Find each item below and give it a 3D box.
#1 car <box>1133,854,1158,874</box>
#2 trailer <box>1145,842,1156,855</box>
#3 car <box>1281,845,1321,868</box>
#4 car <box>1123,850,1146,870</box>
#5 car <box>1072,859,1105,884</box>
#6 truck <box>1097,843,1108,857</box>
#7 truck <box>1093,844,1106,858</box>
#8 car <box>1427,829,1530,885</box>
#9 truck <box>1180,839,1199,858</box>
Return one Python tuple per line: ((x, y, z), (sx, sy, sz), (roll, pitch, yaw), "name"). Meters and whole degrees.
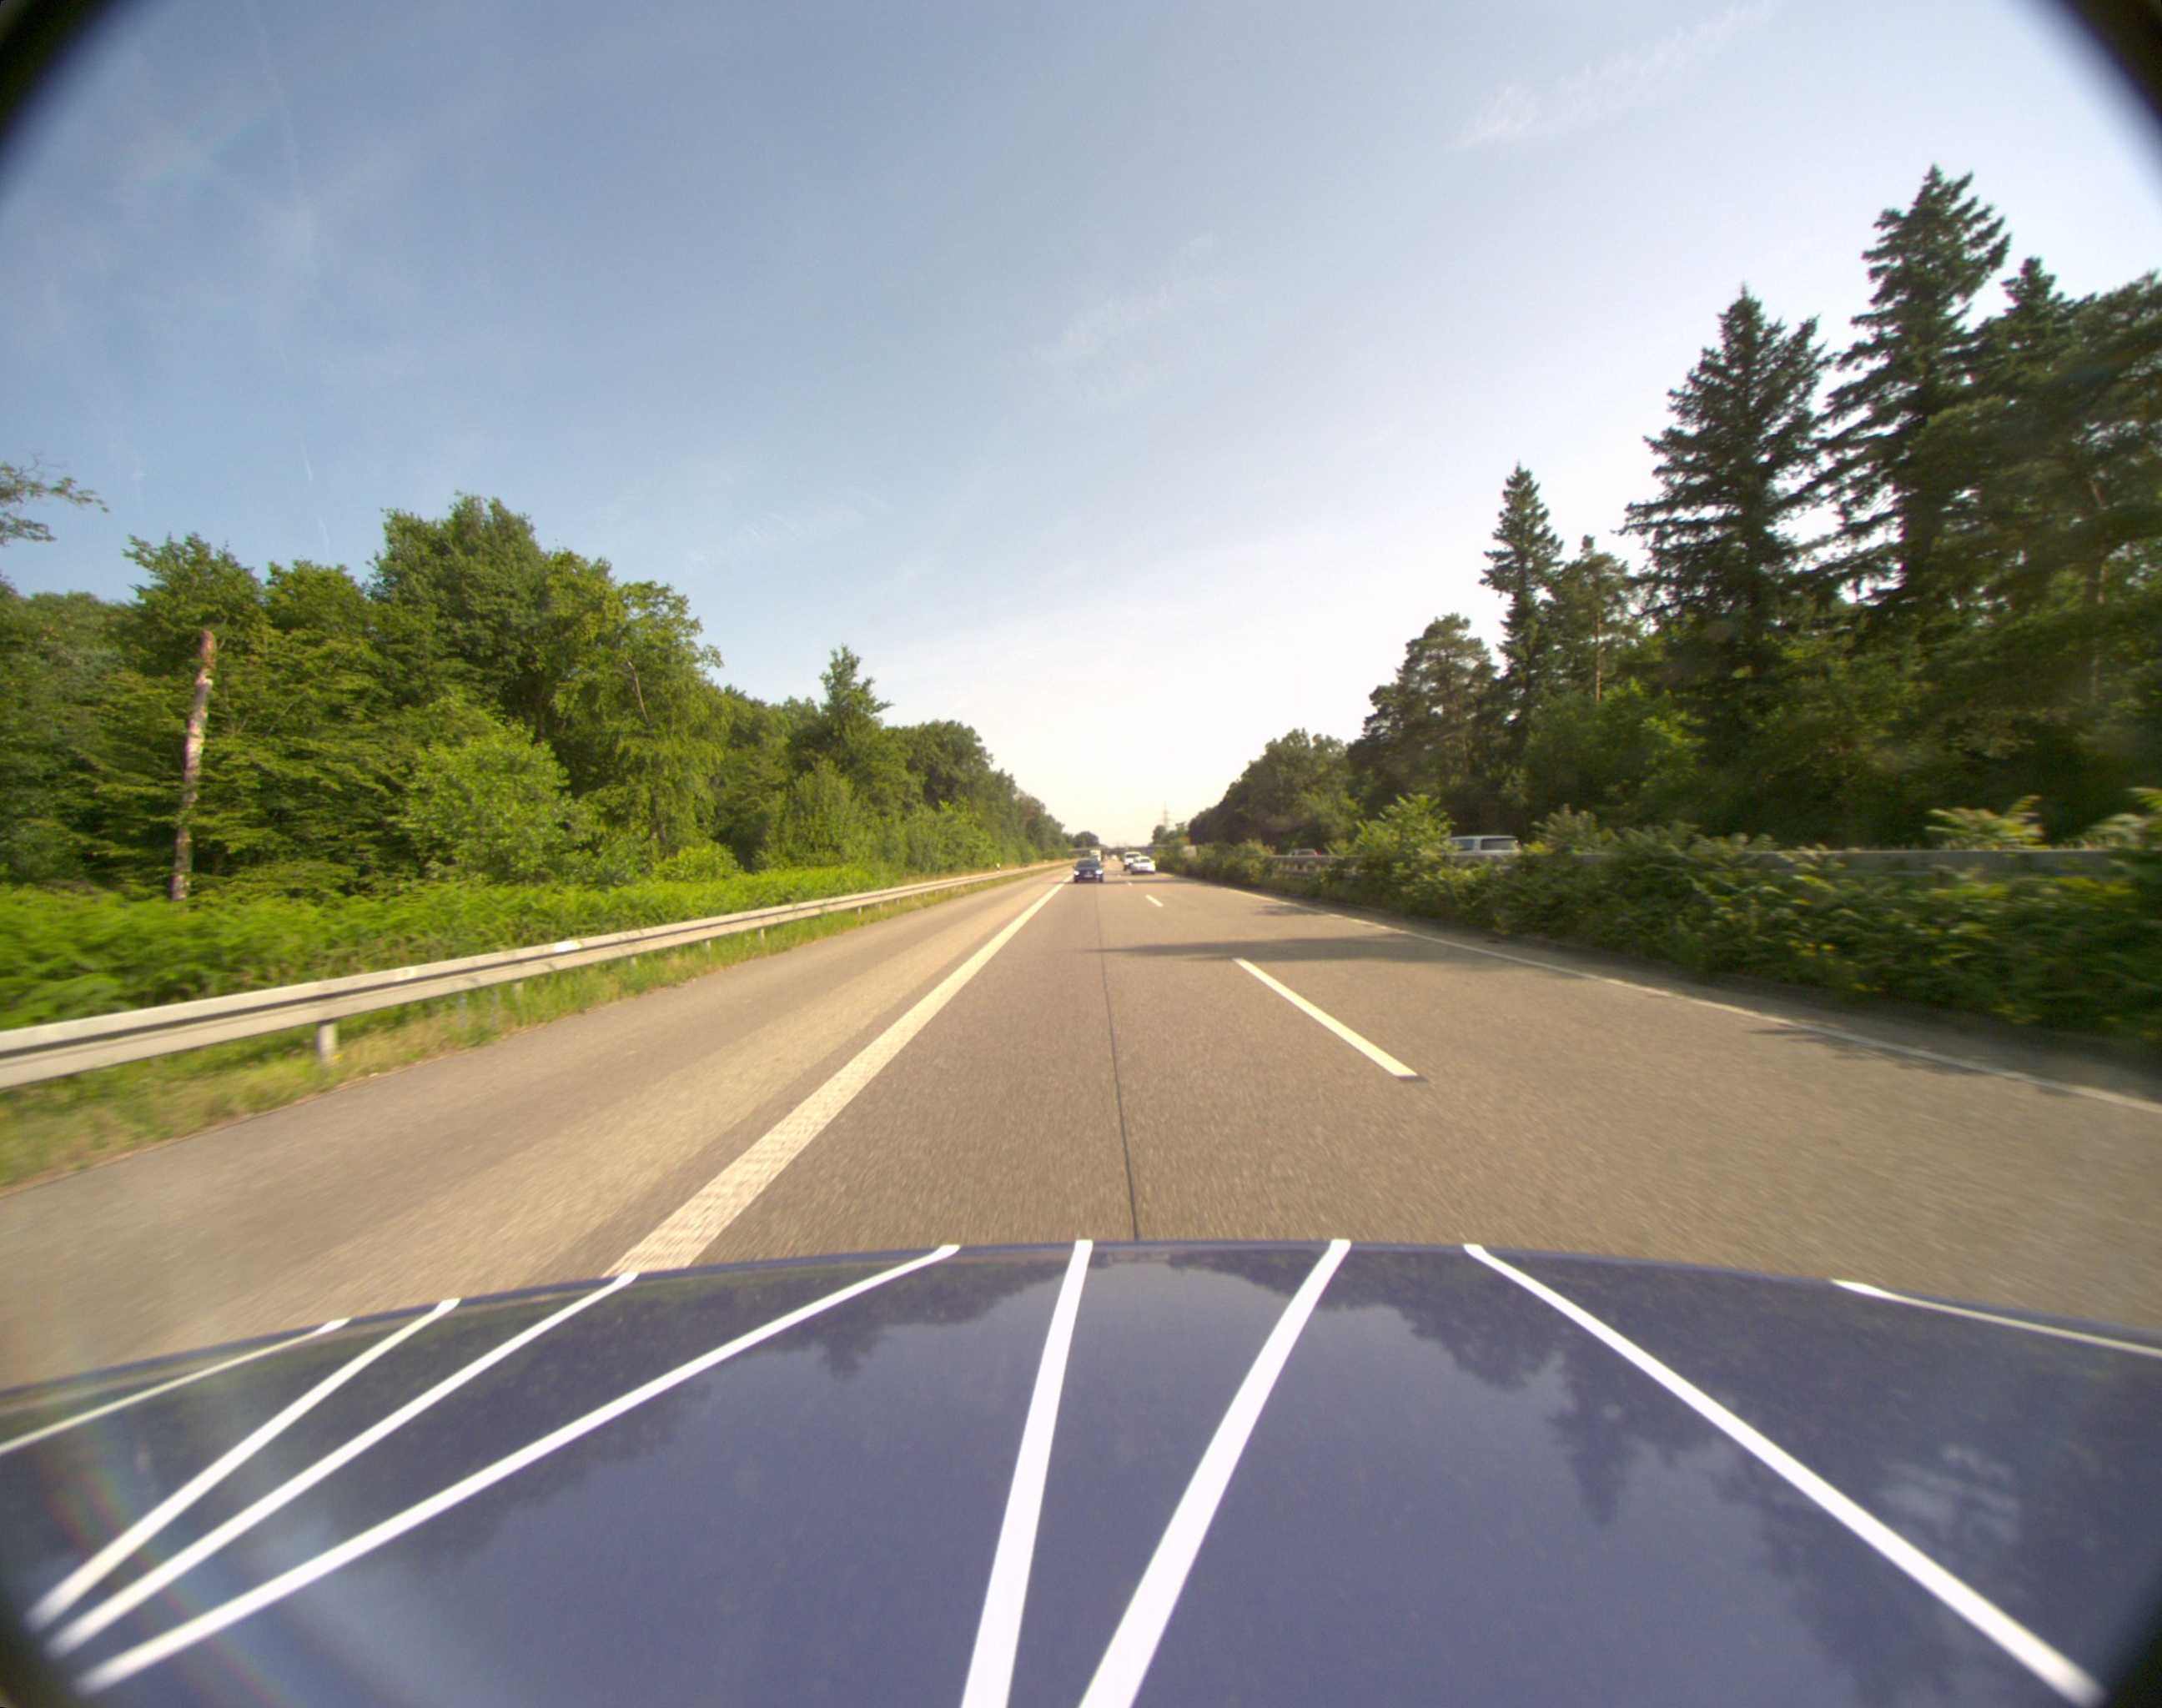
((5.260, 0.781, 62.472), (1.754, 1.477, 5.264), (-2, 0, 2), "car")
((22.671, -1.696, 249.538), (2.899, 3.984, 13.324), (0, 0, 2), "trailer")
((16.732, 0.156, 57.877), (1.820, 1.673, 4.300), (-2, 1, 1), "car")
((5.570, 0.597, 80.188), (1.912, 1.934, 4.705), (-2, 0, -1), "car")
((0.453, 0.980, 44.252), (1.789, 1.285, 3.538), (-2, 0, 1), "car")
((6.485, -1.098, 227.982), (2.695, 4.061, 12.363), (-2, 0, -1), "truck")
((4.164, -0.588, 174.414), (2.695, 3.020, 10.371), (-2, 0, 0), "truck")
((15.884, 0.088, 30.663), (1.820, 2.002, 4.493), (-2, 1, 1), "car")
((19.019, -0.925, 133.399), (2.468, 3.158, 7.227), (0, 0, 1), "truck")
